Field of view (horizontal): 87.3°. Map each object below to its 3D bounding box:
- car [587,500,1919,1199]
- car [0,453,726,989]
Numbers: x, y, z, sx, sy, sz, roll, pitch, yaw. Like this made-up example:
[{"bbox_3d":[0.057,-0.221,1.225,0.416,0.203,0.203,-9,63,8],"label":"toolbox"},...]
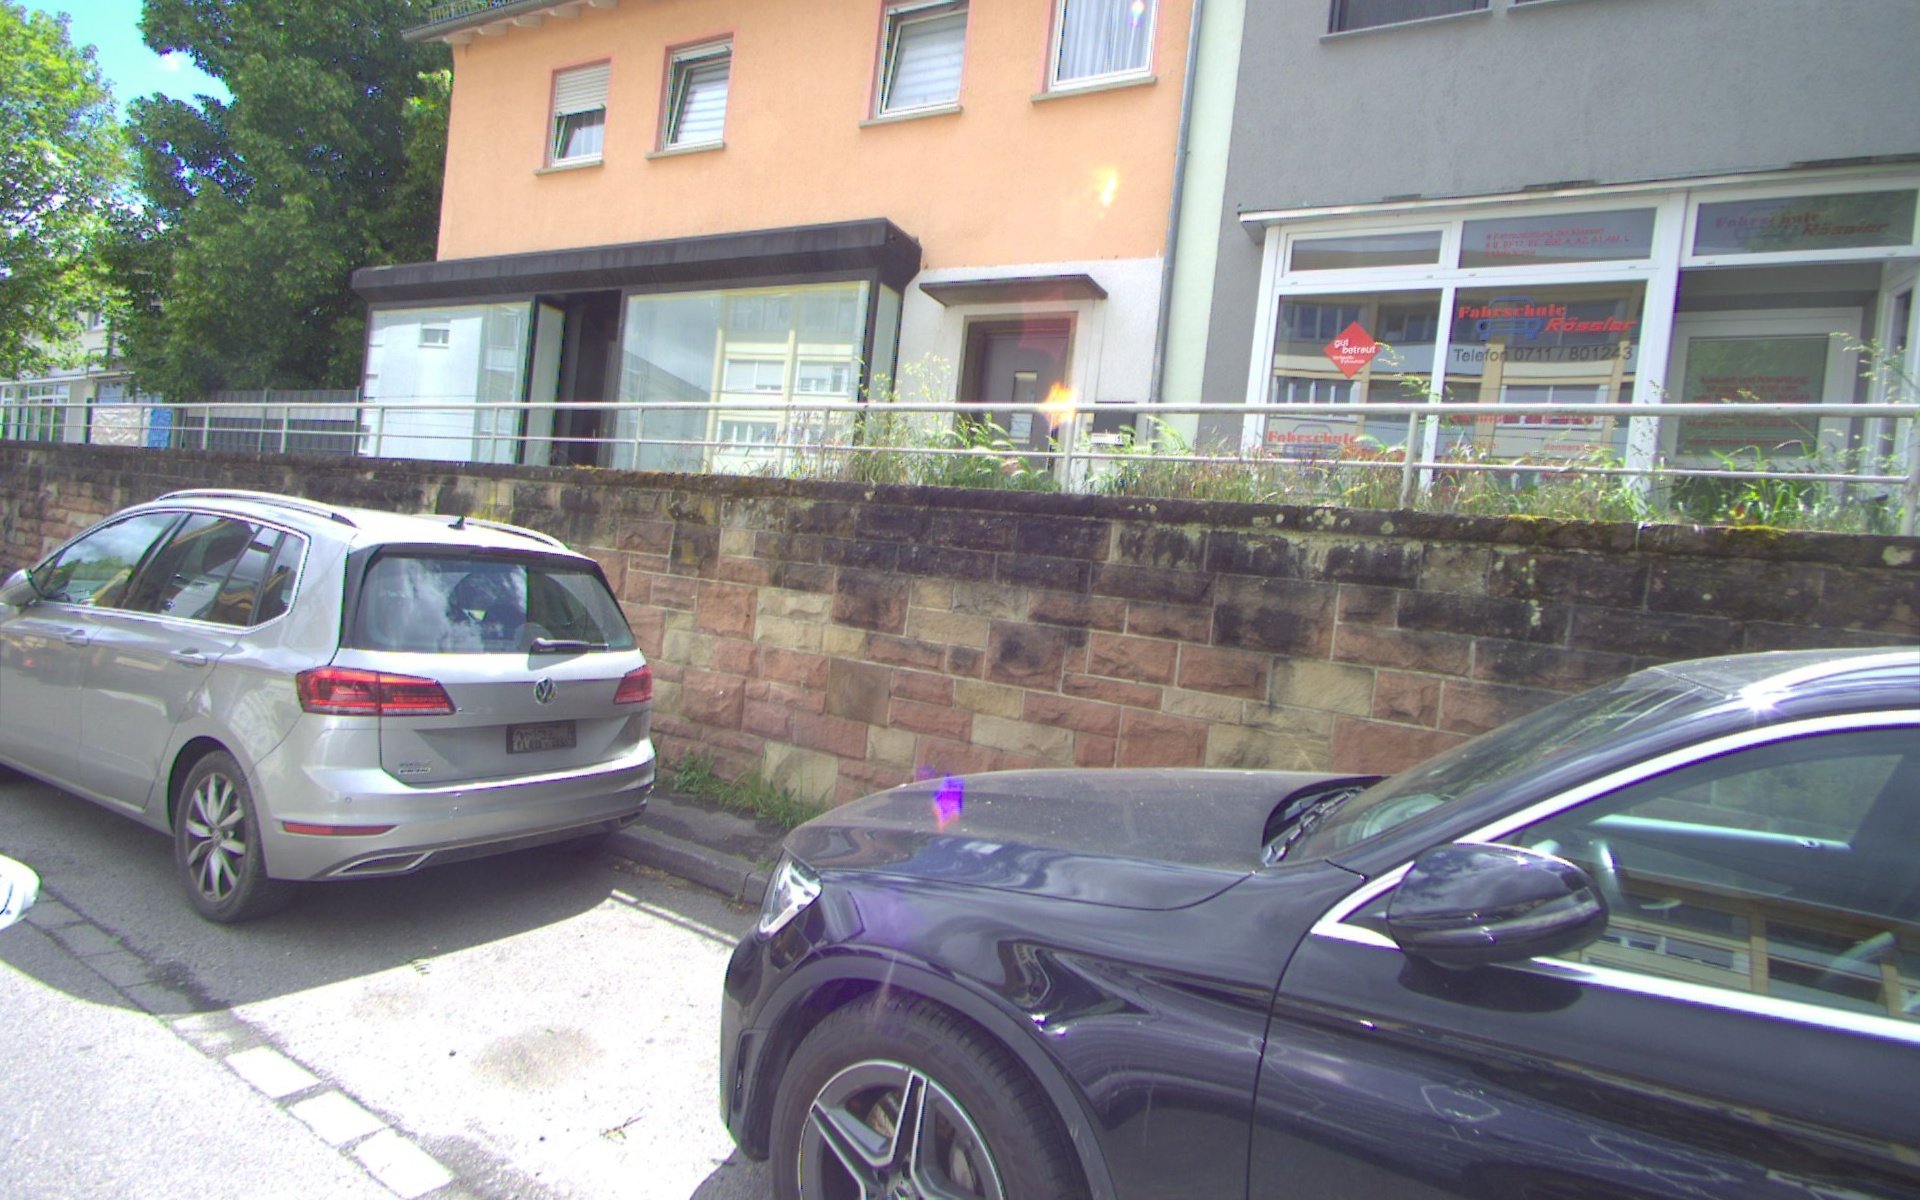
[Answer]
[{"bbox_3d":[1.531,0.846,1.931,4.373,1.639,1.791,7,2,31],"label":"car"},{"bbox_3d":[-3.409,0.260,5.032,4.177,1.638,1.791,7,1,31],"label":"car"}]
